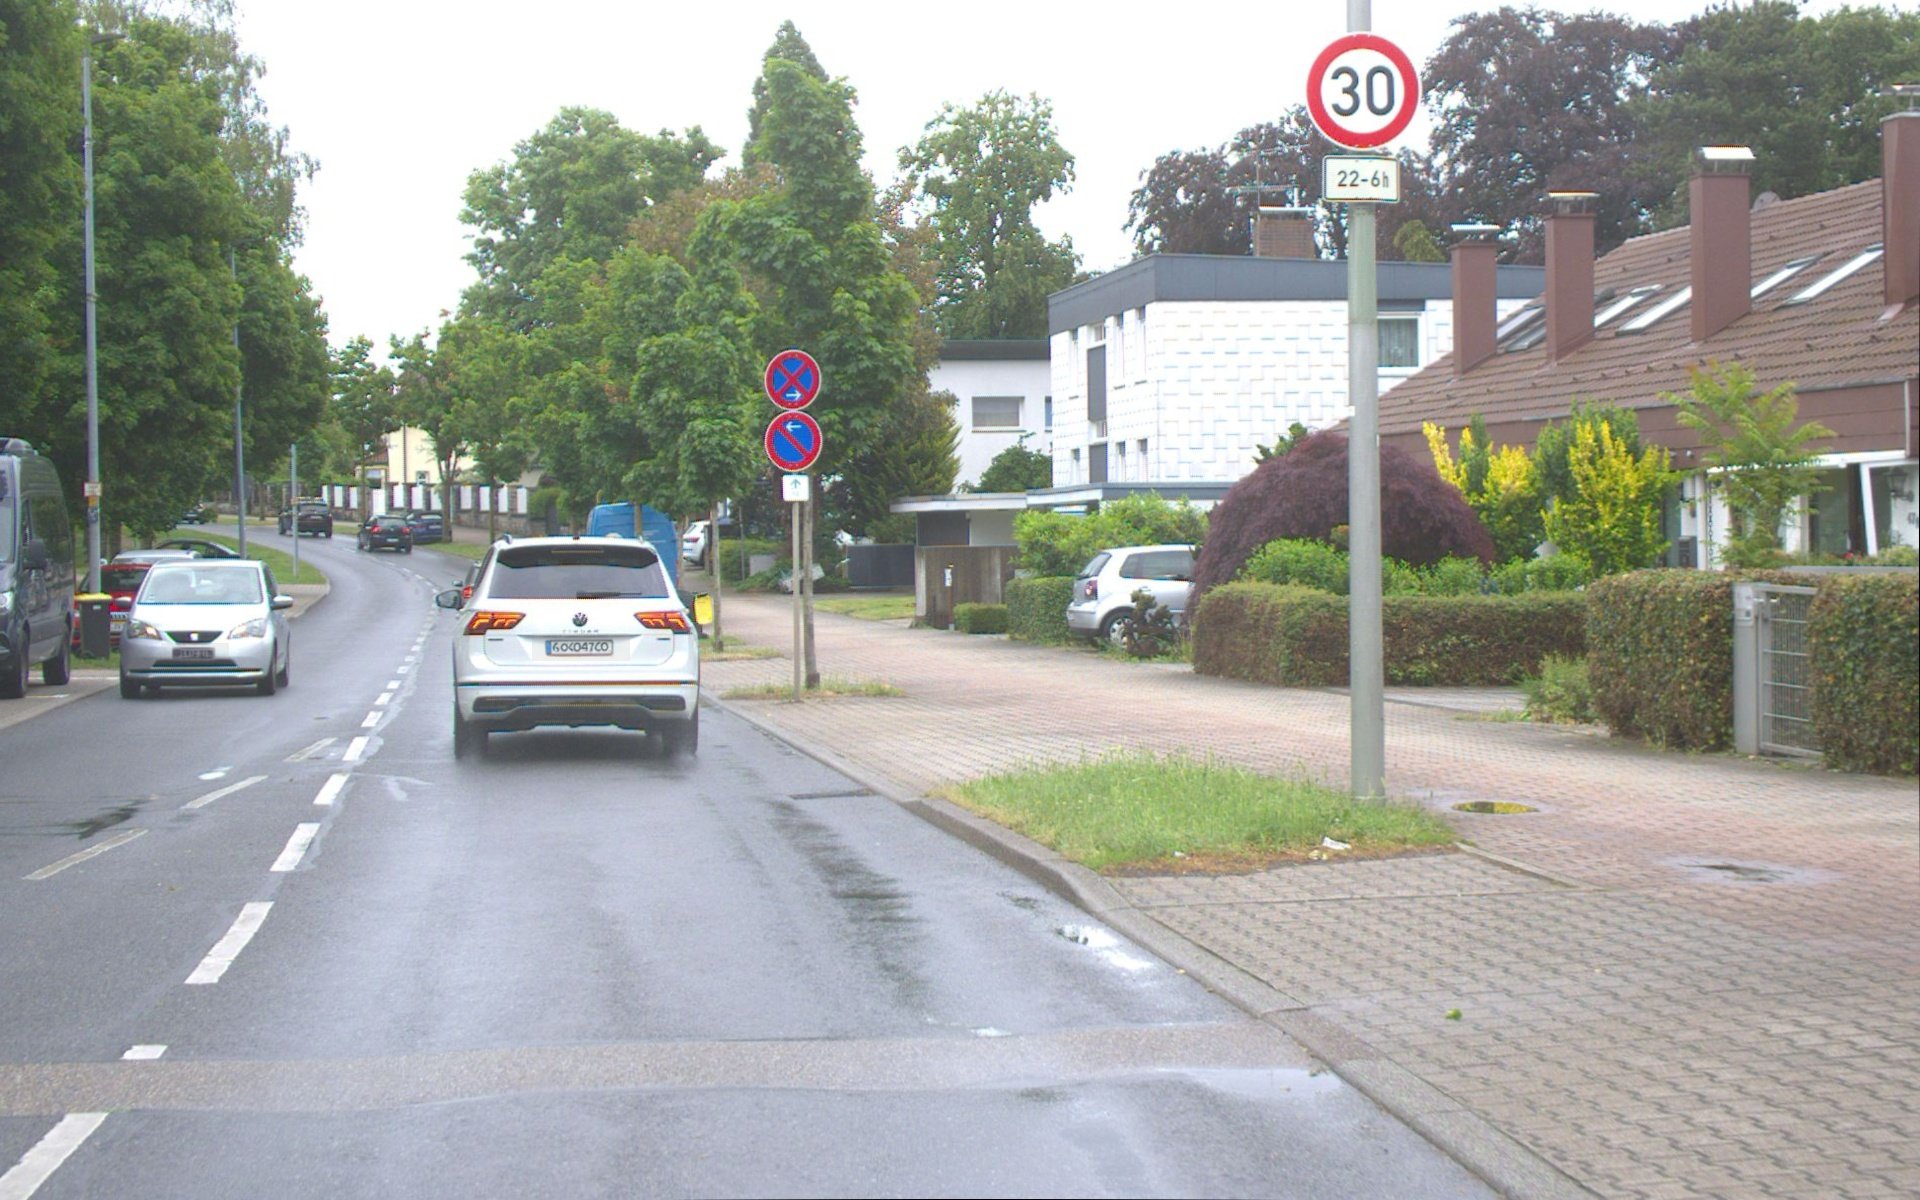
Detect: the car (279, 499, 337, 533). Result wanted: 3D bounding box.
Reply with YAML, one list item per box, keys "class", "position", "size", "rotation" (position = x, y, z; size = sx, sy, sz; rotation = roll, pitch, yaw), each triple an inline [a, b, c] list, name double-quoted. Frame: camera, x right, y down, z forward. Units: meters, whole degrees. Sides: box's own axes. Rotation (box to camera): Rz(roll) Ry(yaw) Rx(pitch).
- class: "car"
  position: [-29.562, -3.824, 155.850]
  size: [1.642, 1.422, 4.001]
  rotation: [0, 2, -25]

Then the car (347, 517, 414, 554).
- class: "car"
  position: [-23.626, -2.641, 140.069]
  size: [1.642, 1.422, 4.001]
  rotation: [0, 2, -25]

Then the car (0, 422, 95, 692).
- class: "car"
  position: [-10.775, -0.512, 37.450]
  size: [1.993, 2.719, 5.939]
  rotation: [0, 1, -8]

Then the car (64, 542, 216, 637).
- class: "car"
  position: [-13.025, -0.203, 54.846]
  size: [1.993, 1.398, 4.558]
  rotation: [-1, 1, -9]

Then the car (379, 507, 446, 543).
- class: "car"
  position: [-23.442, -3.202, 147.068]
  size: [1.642, 1.422, 4.001]
  rotation: [0, 3, -28]

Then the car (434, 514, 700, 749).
- class: "car"
  position: [-3.056, 0.200, 26.855]
  size: [1.865, 1.645, 4.001]
  rotation: [-2, 1, -6]

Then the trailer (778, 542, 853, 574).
- class: "trailer"
  position: [-4.125, -1.204, 98.003]
  size: [2.042, 0.880, 1.365]
  rotation: [0, 1, -5]

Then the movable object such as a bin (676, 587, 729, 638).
- class: "movable object such as a bin"
  position: [-4.331, 0.212, 57.790]
  size: [0.659, 0.797, 0.600]
  rotation: [-4, 1, 17]

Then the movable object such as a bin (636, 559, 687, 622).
- class: "movable object such as a bin"
  position: [-5.073, -0.167, 58.367]
  size: [0.614, 1.011, 0.562]
  rotation: [-5, 0, 17]

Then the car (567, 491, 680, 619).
- class: "car"
  position: [-7.327, -1.019, 74.407]
  size: [1.993, 2.578, 5.635]
  rotation: [-3, 2, -9]

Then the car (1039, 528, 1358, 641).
- class: "car"
  position: [3.227, -0.226, 46.935]
  size: [3.986, 1.437, 1.848]
  rotation: [-1, 1, -10]

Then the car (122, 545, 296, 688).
- class: "car"
  position: [-8.194, 0.144, 37.720]
  size: [1.593, 1.459, 3.454]
  rotation: [-1, 1, -8]

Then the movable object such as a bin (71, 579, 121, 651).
- class: "movable object such as a bin"
  position: [-11.636, 0.199, 46.296]
  size: [0.558, 0.950, 0.549]
  rotation: [-1, 1, -5]

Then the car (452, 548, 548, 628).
- class: "car"
  position: [-9.358, -0.258, 69.750]
  size: [1.768, 1.546, 4.001]
  rotation: [-1, 1, -10]
